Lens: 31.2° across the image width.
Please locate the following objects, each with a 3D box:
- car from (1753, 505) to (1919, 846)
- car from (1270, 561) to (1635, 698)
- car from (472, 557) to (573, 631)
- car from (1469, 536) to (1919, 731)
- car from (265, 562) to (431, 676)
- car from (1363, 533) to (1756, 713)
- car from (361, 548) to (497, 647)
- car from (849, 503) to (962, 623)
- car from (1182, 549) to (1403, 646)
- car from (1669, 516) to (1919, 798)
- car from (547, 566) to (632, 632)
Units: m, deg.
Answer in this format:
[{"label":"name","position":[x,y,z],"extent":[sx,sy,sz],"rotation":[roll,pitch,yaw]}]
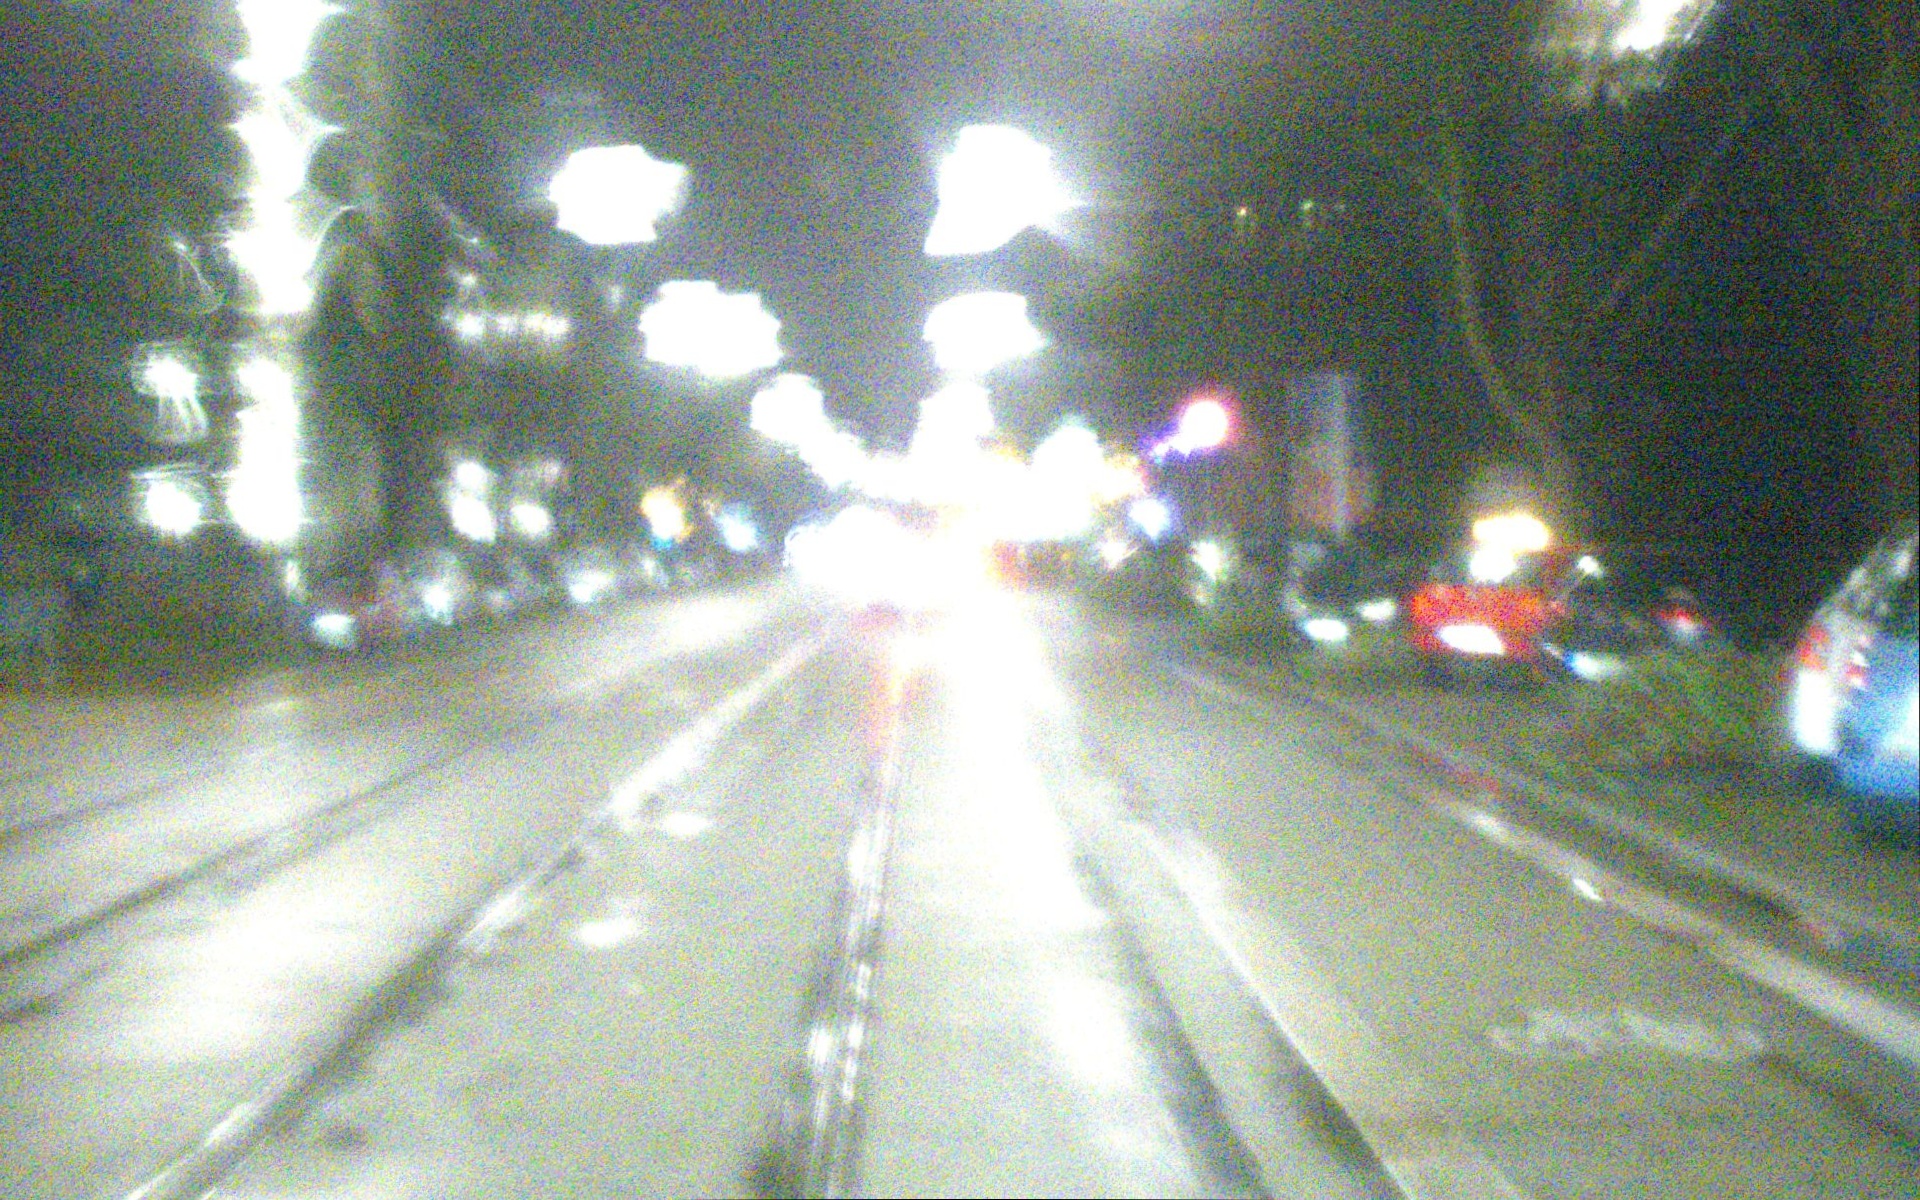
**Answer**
[{"label":"car","position":[5.783,0.341,16.736],"extent":[3.878,1.528,1.821],"rotation":[0,1,-42]},{"label":"car","position":[5.704,0.332,39.518],"extent":[4.237,1.449,1.950],"rotation":[1,1,-45]},{"label":"car","position":[-10.903,-0.147,85.889],"extent":[2.022,1.755,4.000],"rotation":[2,0,-1]},{"label":"car","position":[5.912,0.230,27.259],"extent":[3.818,1.425,1.636],"rotation":[0,2,-42]},{"label":"car","position":[-10.226,0.298,57.769],"extent":[2.108,1.758,4.966],"rotation":[2,0,-3]},{"label":"car","position":[5.884,0.207,33.493],"extent":[2.054,1.618,3.819],"rotation":[2,1,41]},{"label":"car","position":[-10.183,-0.054,66.183],"extent":[1.999,1.779,4.000],"rotation":[2,0,-1]},{"label":"car","position":[-1.199,-0.803,72.789],"extent":[2.216,2.433,5.385],"rotation":[0,1,-2]},{"label":"car","position":[5.753,-0.040,59.175],"extent":[1.909,1.567,3.953],"rotation":[2,1,38]},{"label":"car","position":[6.104,0.322,21.213],"extent":[1.702,1.528,3.743],"rotation":[4,2,41]},{"label":"car","position":[-10.459,-0.033,97.301],"extent":[2.022,1.755,4.000],"rotation":[2,0,-1]}]
